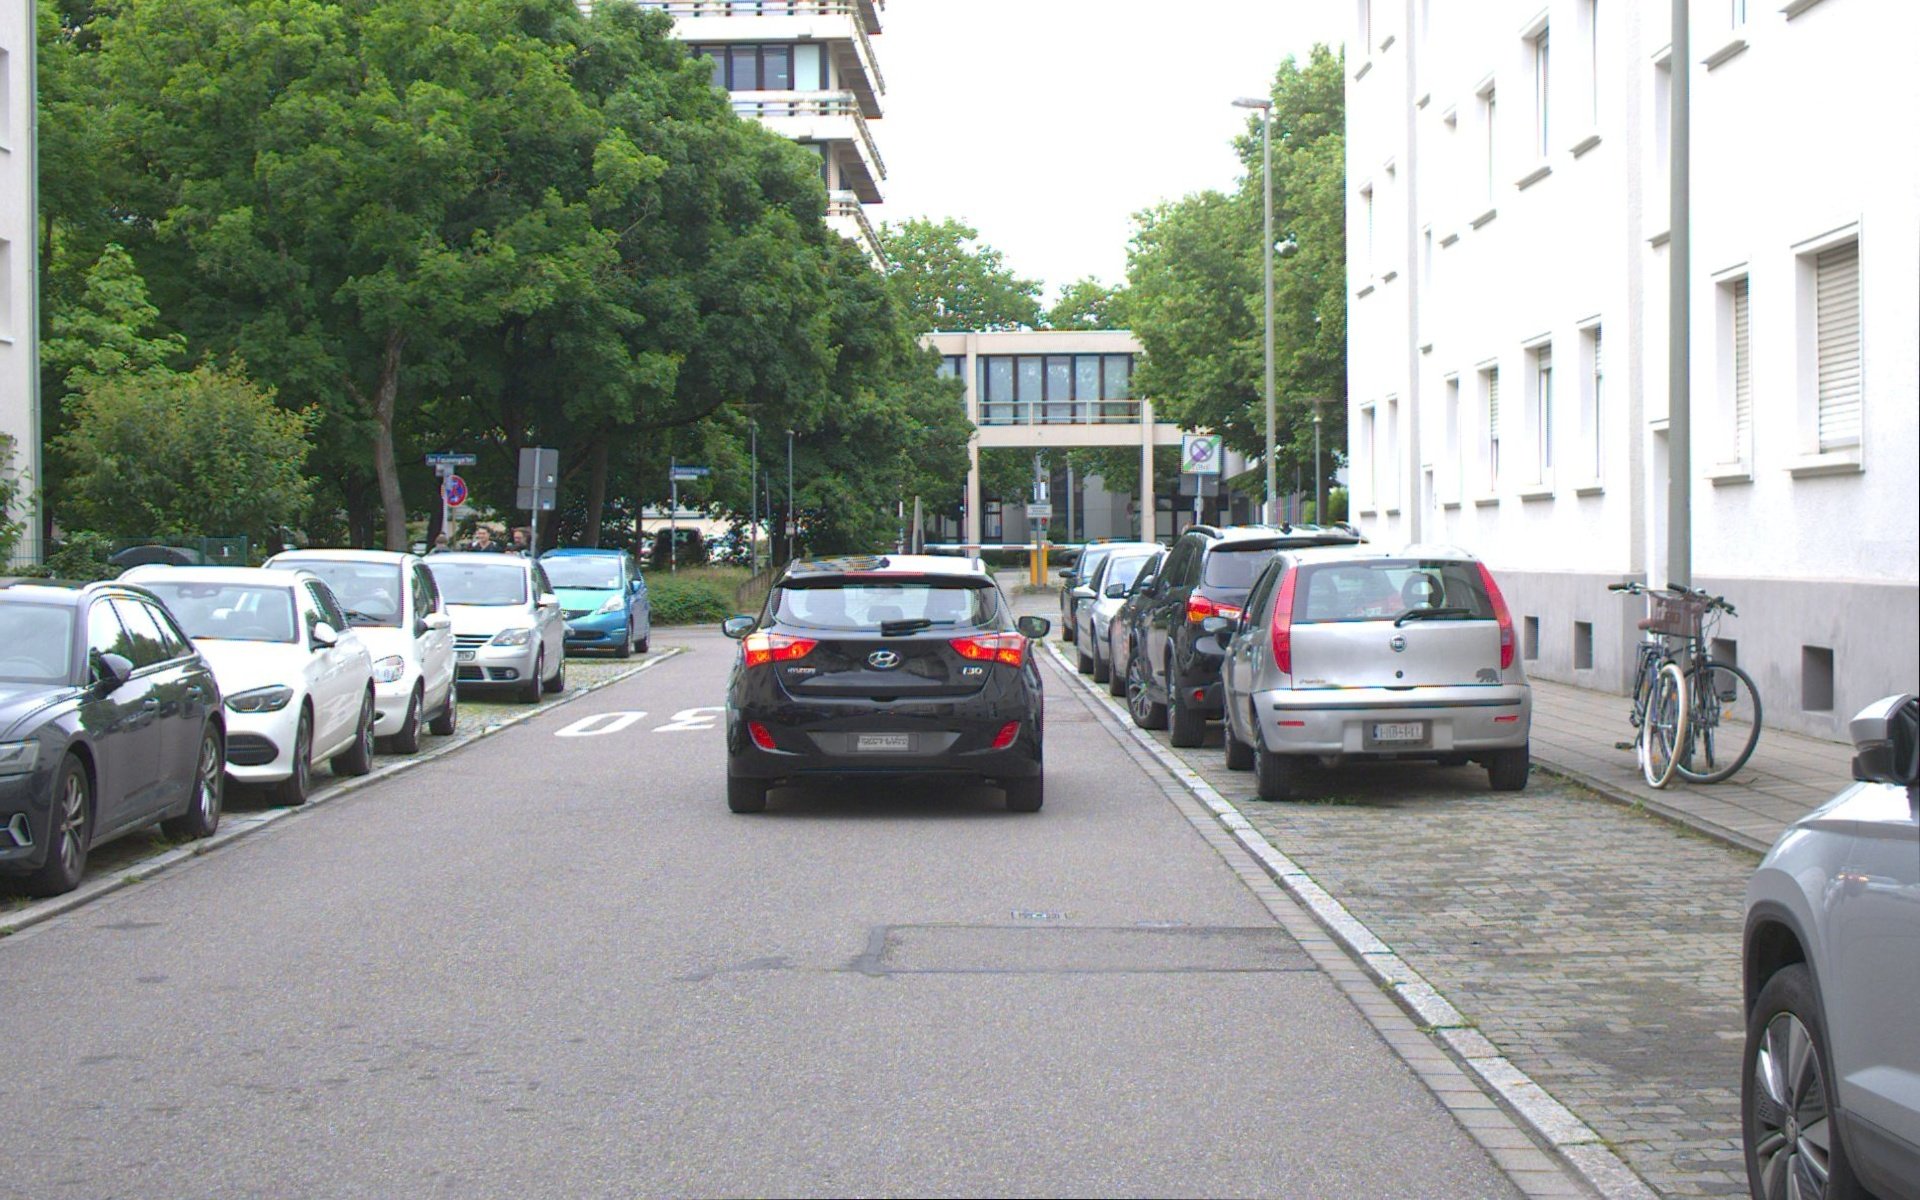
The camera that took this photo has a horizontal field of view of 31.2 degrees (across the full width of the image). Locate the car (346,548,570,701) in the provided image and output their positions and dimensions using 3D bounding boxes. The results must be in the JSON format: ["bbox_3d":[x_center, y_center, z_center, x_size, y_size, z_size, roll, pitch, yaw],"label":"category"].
[{"bbox_3d":[-5.359,0.222,37.150,1.993,1.536,4.001,0,1,-3],"label":"car"}]

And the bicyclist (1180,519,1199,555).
[{"bbox_3d":[9.061,-2.493,135.580,0.693,1.439,0.795,0,1,1],"label":"bicyclist"}]

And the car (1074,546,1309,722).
[{"bbox_3d":[2.102,0.259,32.428,1.820,1.514,4.674,0,1,-1],"label":"car"}]

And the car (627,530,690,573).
[{"bbox_3d":[-9.442,-1.536,107.793,1.665,1.328,3.396,0,1,0],"label":"car"}]

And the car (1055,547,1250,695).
[{"bbox_3d":[2.066,0.180,38.079,1.820,1.514,4.674,0,1,-1],"label":"car"}]

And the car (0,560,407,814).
[{"bbox_3d":[-5.013,0.496,22.957,1.895,1.447,4.521,2,1,0],"label":"car"}]

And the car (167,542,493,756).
[{"bbox_3d":[-5.198,0.344,28.947,1.895,1.593,4.521,2,1,0],"label":"car"}]

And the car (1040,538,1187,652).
[{"bbox_3d":[2.154,-0.092,49.351,1.820,1.514,4.674,-1,1,-1],"label":"car"}]

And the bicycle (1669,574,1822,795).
[{"bbox_3d":[4.504,0.453,19.818,0.576,1.171,2.036,-1,1,6],"label":"bicycle"}]

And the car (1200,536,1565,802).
[{"bbox_3d":[2.557,0.361,21.668,1.820,1.498,4.091,-1,1,1],"label":"car"}]

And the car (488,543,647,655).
[{"bbox_3d":[-5.613,-0.047,49.574,1.993,1.536,4.001,0,1,-3],"label":"car"}]

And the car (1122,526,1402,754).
[{"bbox_3d":[2.238,0.246,26.411,1.820,1.597,4.091,0,1,1],"label":"car"}]

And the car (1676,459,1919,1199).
[{"bbox_3d":[2.462,0.584,5.466,1.820,1.636,4.091,-1,1,1],"label":"car"}]

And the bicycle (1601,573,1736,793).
[{"bbox_3d":[4.070,0.449,19.855,0.530,1.171,2.036,-1,1,6],"label":"bicycle"}]

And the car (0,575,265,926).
[{"bbox_3d":[-4.938,0.634,17.377,1.895,1.447,4.666,2,1,0],"label":"car"}]

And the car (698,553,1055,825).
[{"bbox_3d":[-0.439,0.449,20.614,1.903,1.428,4.233,-1,1,0],"label":"car"}]

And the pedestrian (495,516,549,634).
[{"bbox_3d":[-6.860,-0.399,53.892,0.714,1.825,0.797,0,1,2],"label":"pedestrian"}]

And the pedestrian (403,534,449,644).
[{"bbox_3d":[-8.344,-0.183,53.745,0.600,1.707,0.648,0,1,2],"label":"pedestrian"}]

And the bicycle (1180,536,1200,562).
[{"bbox_3d":[9.060,-2.013,135.534,0.693,0.993,1.735,0,1,1],"label":"bicycle"}]

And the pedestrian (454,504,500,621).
[{"bbox_3d":[-7.602,-0.597,54.123,0.605,1.825,0.675,0,1,2],"label":"pedestrian"}]

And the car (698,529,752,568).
[{"bbox_3d":[-8.281,-1.833,121.223,1.665,1.328,3.396,0,1,0],"label":"car"}]
